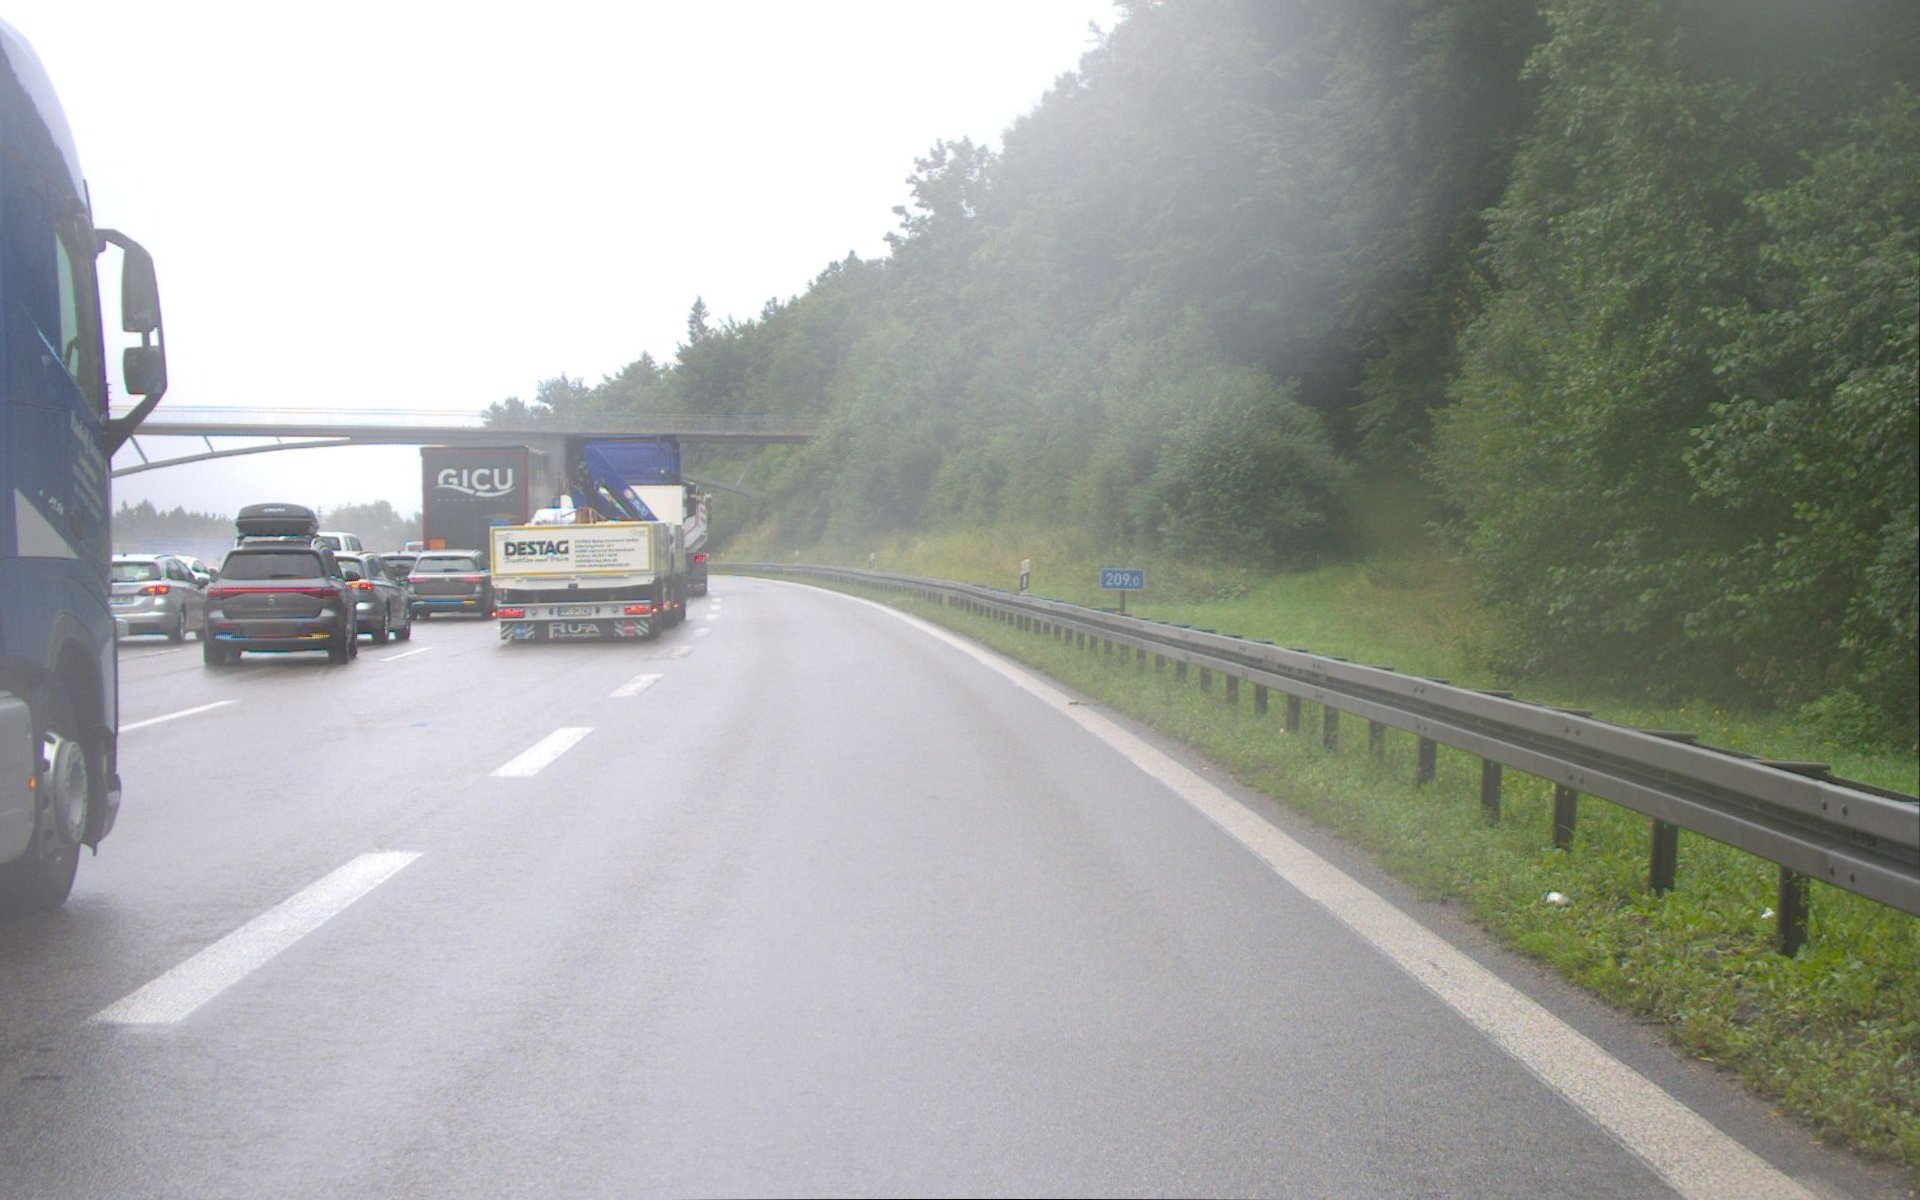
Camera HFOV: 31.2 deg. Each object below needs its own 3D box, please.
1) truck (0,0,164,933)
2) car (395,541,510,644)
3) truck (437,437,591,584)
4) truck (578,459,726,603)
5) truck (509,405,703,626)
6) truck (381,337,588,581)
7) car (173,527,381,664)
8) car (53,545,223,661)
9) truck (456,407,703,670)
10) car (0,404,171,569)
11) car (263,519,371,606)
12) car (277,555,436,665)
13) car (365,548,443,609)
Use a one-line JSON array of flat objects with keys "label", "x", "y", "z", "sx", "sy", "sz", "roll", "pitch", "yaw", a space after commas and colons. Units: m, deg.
[{"label": "truck", "x": -4.965, "y": -0.626, "z": 12.927, "sx": 2.877, "sy": 3.681, "sz": 5.057, "roll": 0, "pitch": 1, "yaw": -1}, {"label": "car", "x": -10.676, "y": -0.127, "z": 72.581, "sx": 1.793, "sy": 2.007, "sz": 4.000, "roll": 3, "pitch": -1, "yaw": -1}, {"label": "truck", "x": -13.660, "y": -2.647, "z": 106.171, "sx": 3.576, "sy": 4.081, "sz": 10.880, "roll": 0, "pitch": -1, "yaw": -1}, {"label": "truck", "x": -9.506, "y": -2.039, "z": 107.610, "sx": 3.754, "sy": 3.957, "sz": 11.059, "roll": 3, "pitch": -1, "yaw": -2}, {"label": "truck", "x": -7.573, "y": -1.672, "z": 75.090, "sx": 3.507, "sy": 4.253, "sz": 10.604, "roll": 3, "pitch": -1, "yaw": -3}, {"label": "truck", "x": -11.999, "y": -3.417, "z": 87.865, "sx": 3.754, "sy": 5.480, "sz": 10.173, "roll": 3, "pitch": -1, "yaw": -1}, {"label": "car", "x": -9.022, "y": -0.034, "z": 45.733, "sx": 1.993, "sy": 1.630, "sz": 4.000, "roll": 3, "pitch": -1, "yaw": -2}, {"label": "car", "x": -13.451, "y": 0.073, "z": 56.468, "sx": 1.786, "sy": 1.740, "sz": 4.000, "roll": 3, "pitch": -1, "yaw": -1}, {"label": "truck", "x": -6.380, "y": -1.069, "z": 59.508, "sx": 3.599, "sy": 4.091, "sz": 11.561, "roll": 0, "pitch": 1, "yaw": -3}, {"label": "car", "x": -11.307, "y": -1.398, "z": 43.275, "sx": 1.797, "sy": 1.831, "sz": 4.000, "roll": 3, "pitch": -1, "yaw": -1}, {"label": "car", "x": -15.090, "y": -0.846, "z": 80.871, "sx": 1.844, "sy": 1.853, "sz": 4.000, "roll": 3, "pitch": -1, "yaw": -2}, {"label": "car", "x": -9.561, "y": 0.125, "z": 54.729, "sx": 1.938, "sy": 1.656, "sz": 4.000, "roll": 0, "pitch": 1, "yaw": -2}, {"label": "car", "x": -16.446, "y": -0.620, "z": 101.833, "sx": 1.851, "sy": 1.657, "sz": 4.000, "roll": 3, "pitch": -1, "yaw": -4}]
